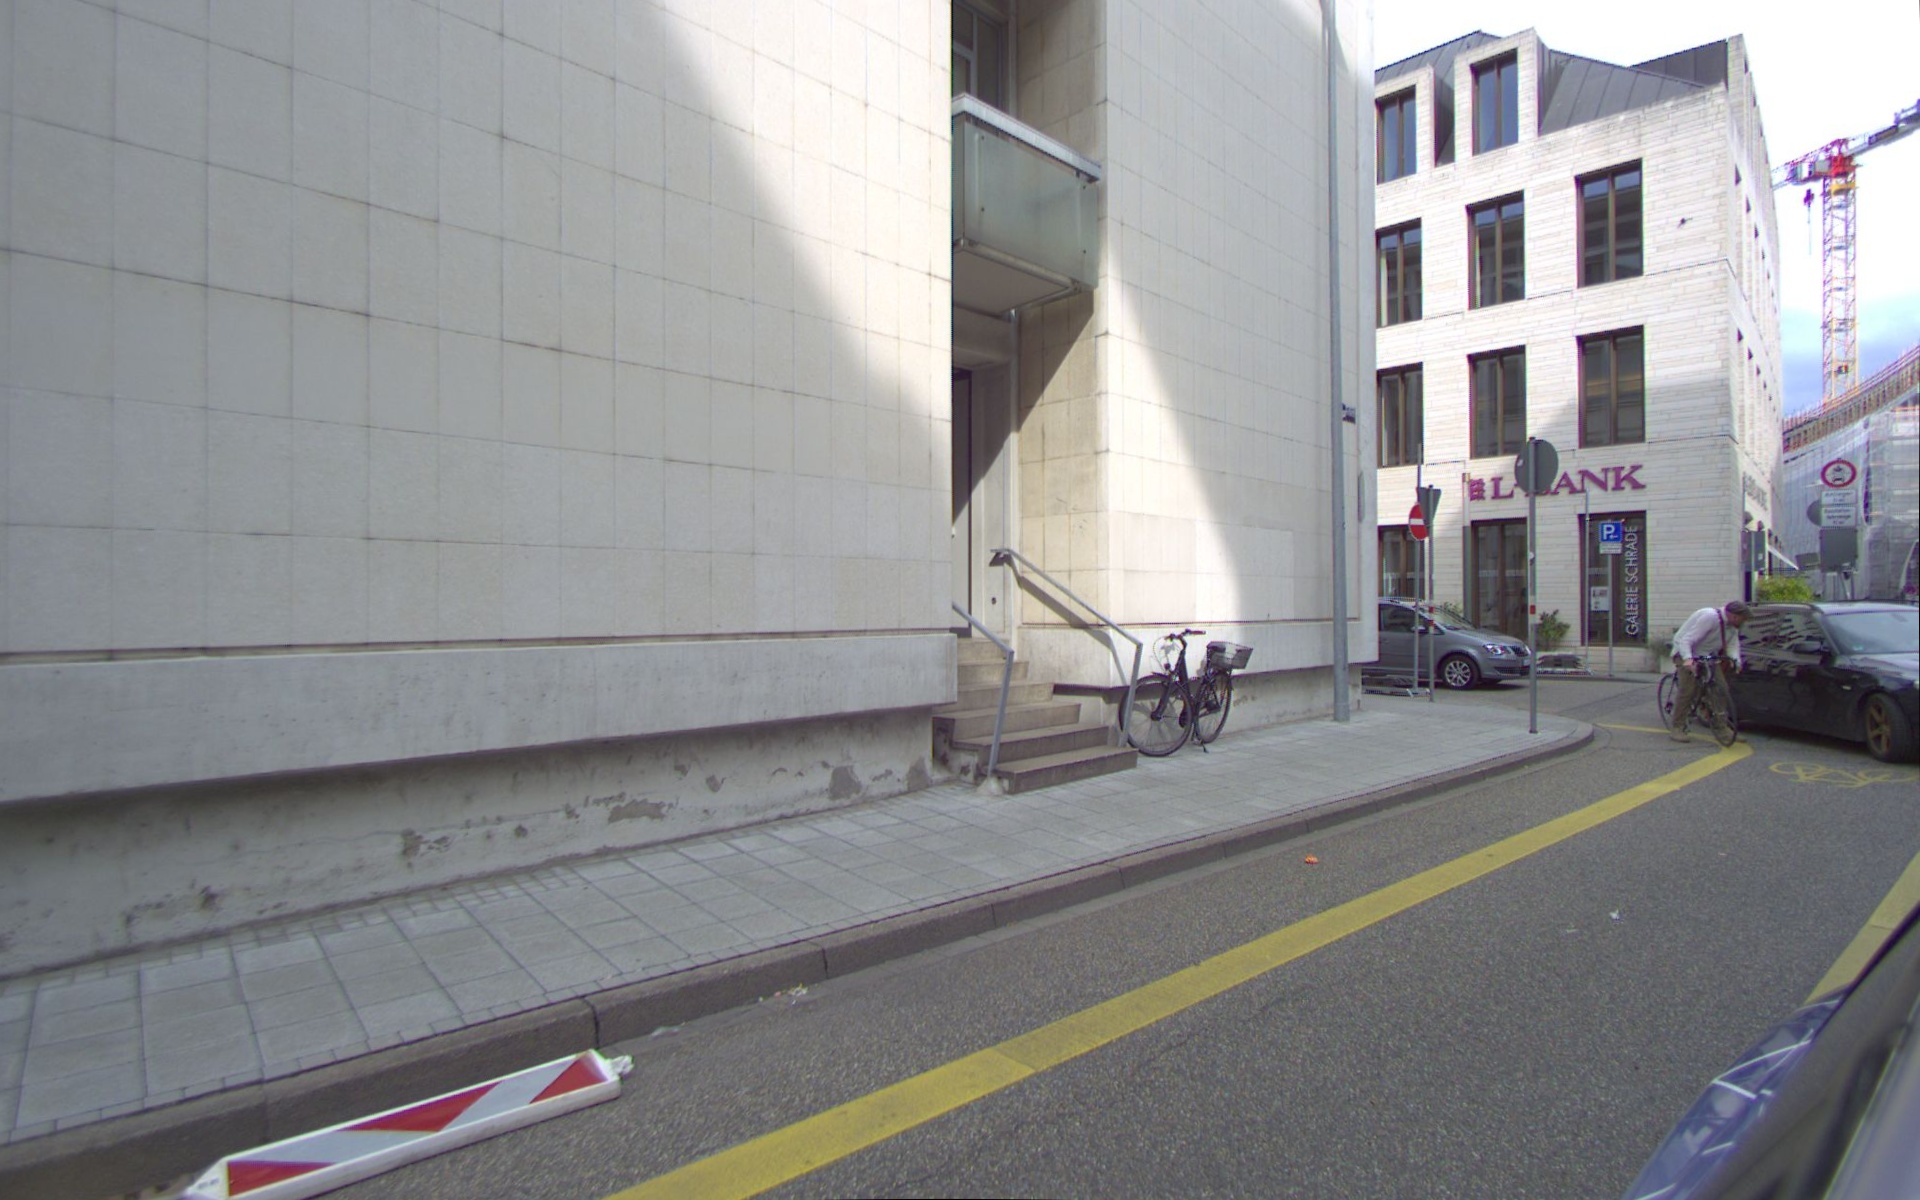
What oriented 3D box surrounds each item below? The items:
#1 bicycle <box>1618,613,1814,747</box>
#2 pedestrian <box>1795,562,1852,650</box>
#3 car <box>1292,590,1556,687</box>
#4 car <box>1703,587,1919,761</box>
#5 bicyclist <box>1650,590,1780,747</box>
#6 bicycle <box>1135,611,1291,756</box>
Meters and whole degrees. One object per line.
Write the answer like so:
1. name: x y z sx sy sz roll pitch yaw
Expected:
1. bicycle: 8.190 0.788 11.156 0.860 1.209 2.847 0 0 18
2. pedestrian: 18.610 0.123 21.825 0.767 1.854 0.853 0 0 29
3. car: 8.655 0.631 19.133 1.784 1.610 4.187 -1 1 -42
4. car: 9.380 0.627 10.049 1.690 1.509 3.754 -1 0 10
5. bicyclist: 8.164 0.705 10.991 0.881 1.614 0.872 0 0 19
6. bicycle: 2.376 0.716 9.379 0.588 1.182 1.786 0 0 44
